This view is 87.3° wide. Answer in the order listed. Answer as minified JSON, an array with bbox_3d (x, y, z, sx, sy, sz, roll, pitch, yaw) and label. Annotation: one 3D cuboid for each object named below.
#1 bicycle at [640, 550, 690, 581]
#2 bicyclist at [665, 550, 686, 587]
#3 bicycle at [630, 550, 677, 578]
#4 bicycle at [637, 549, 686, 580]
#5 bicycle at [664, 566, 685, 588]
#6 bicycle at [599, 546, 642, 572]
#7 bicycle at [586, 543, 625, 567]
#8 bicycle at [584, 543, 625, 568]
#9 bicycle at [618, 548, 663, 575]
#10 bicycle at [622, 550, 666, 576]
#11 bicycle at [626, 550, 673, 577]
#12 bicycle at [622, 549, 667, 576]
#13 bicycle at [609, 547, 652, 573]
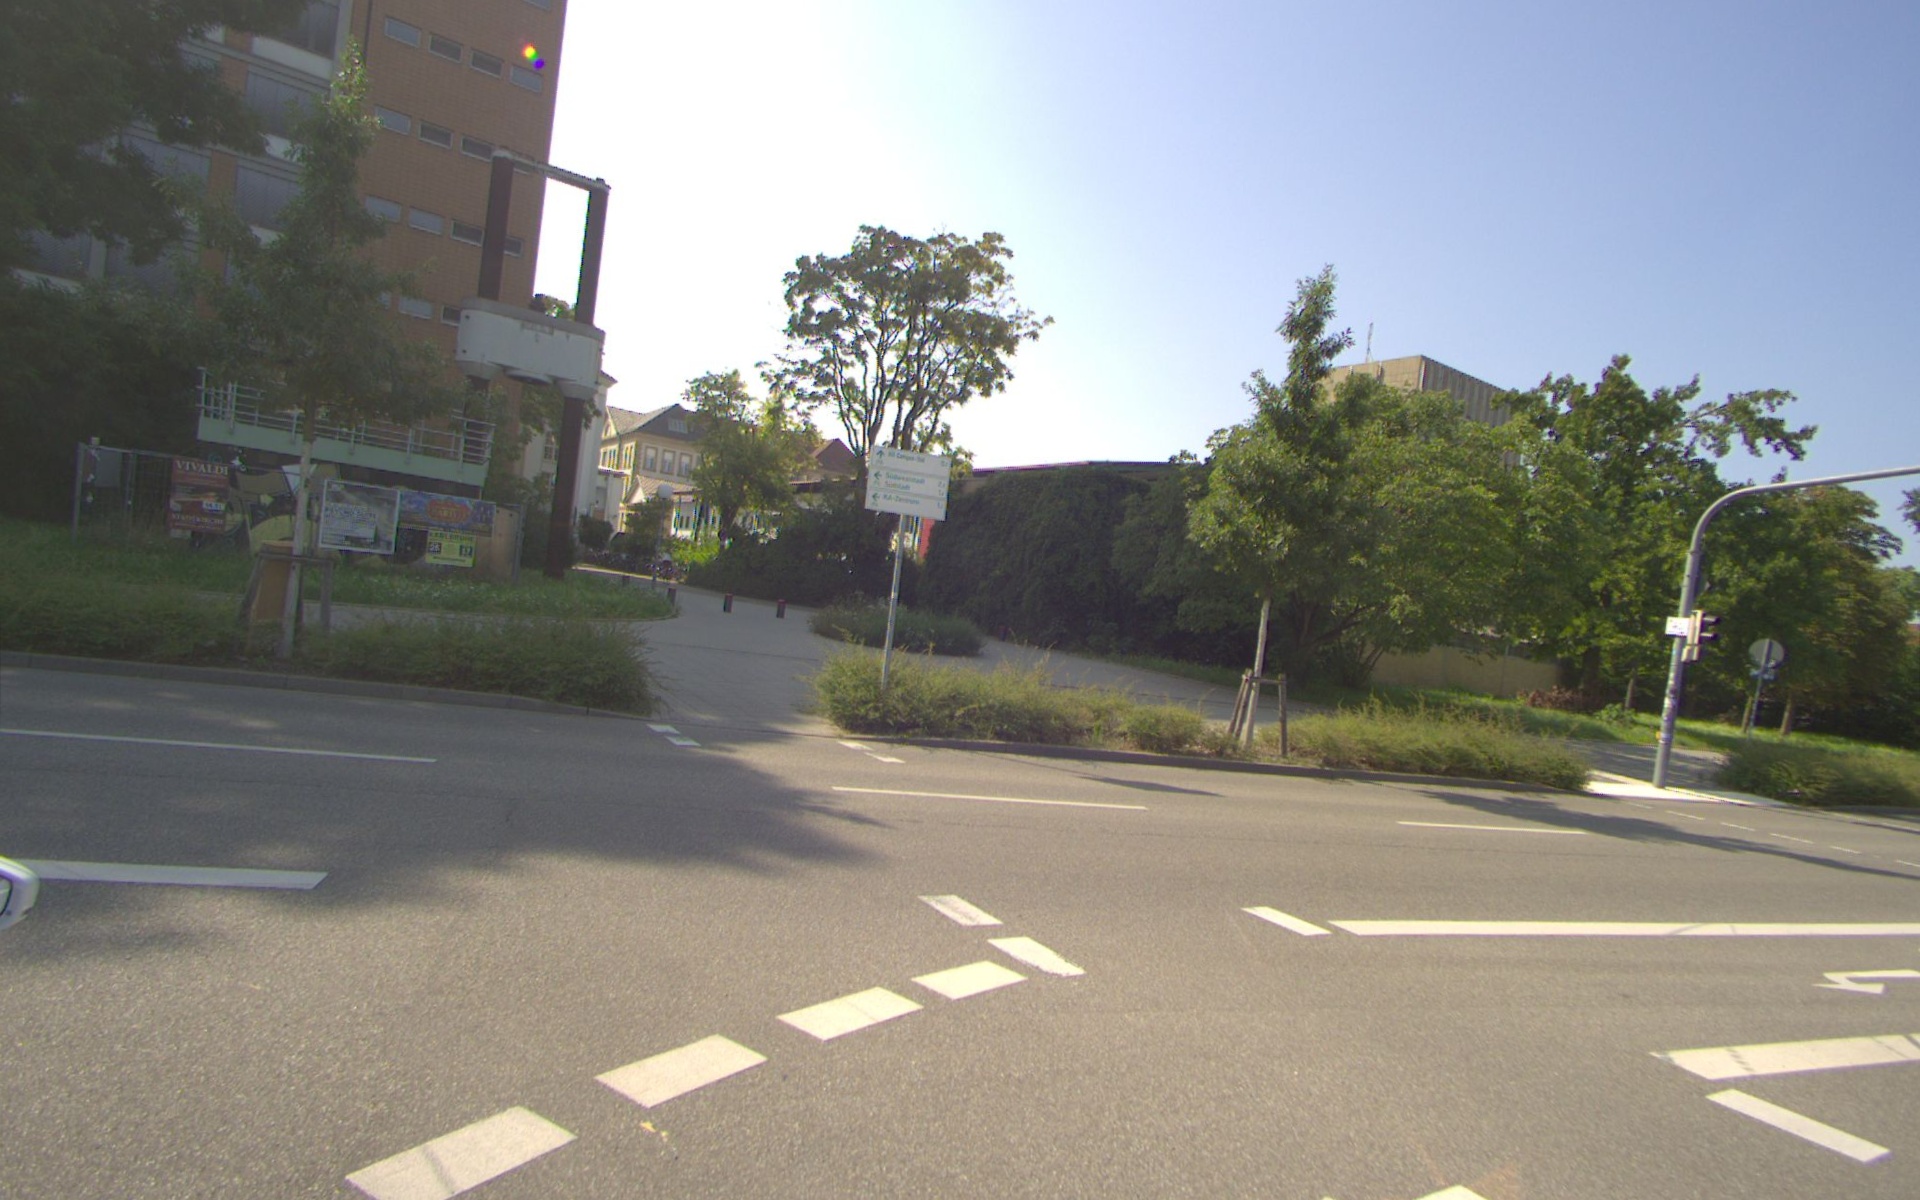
[{"bbox_3d":[-16.265,-1.890,55.559,2.408,1.334,0.715,9,0,-28],"label":"bicycle"},{"bbox_3d":[-13.247,-1.474,46.798,0.643,1.622,0.914,6,2,-23],"label":"bicyclist"},{"bbox_3d":[-17.908,-2.086,58.817,2.408,1.238,0.715,9,0,-28],"label":"bicycle"},{"bbox_3d":[-16.783,-1.983,56.557,2.408,1.334,0.715,9,0,-28],"label":"bicycle"},{"bbox_3d":[-13.245,-1.080,46.699,0.667,0.891,1.392,7,1,-24],"label":"bicycle"},{"bbox_3d":[-22.066,-2.685,65.349,2.408,1.297,0.715,9,0,-28],"label":"bicycle"},{"bbox_3d":[-25.198,-3.205,71.544,2.408,1.277,0.715,9,0,-28],"label":"bicycle"},{"bbox_3d":[-24.447,-3.082,69.165,2.408,1.297,0.715,9,0,-28],"label":"bicycle"},{"bbox_3d":[-19.806,-2.361,62.369,2.408,1.254,0.715,9,0,-28],"label":"bicycle"},{"bbox_3d":[-19.954,-2.321,63.477,2.408,1.243,0.715,9,0,-28],"label":"bicycle"},{"bbox_3d":[-18.494,-2.180,59.934,2.408,1.238,0.715,9,0,-28],"label":"bicycle"},{"bbox_3d":[-19.299,-2.285,61.595,2.408,1.249,0.715,9,0,-28],"label":"bicycle"},{"bbox_3d":[-21.133,-2.574,64.609,2.408,1.297,0.715,9,0,-28],"label":"bicycle"}]
